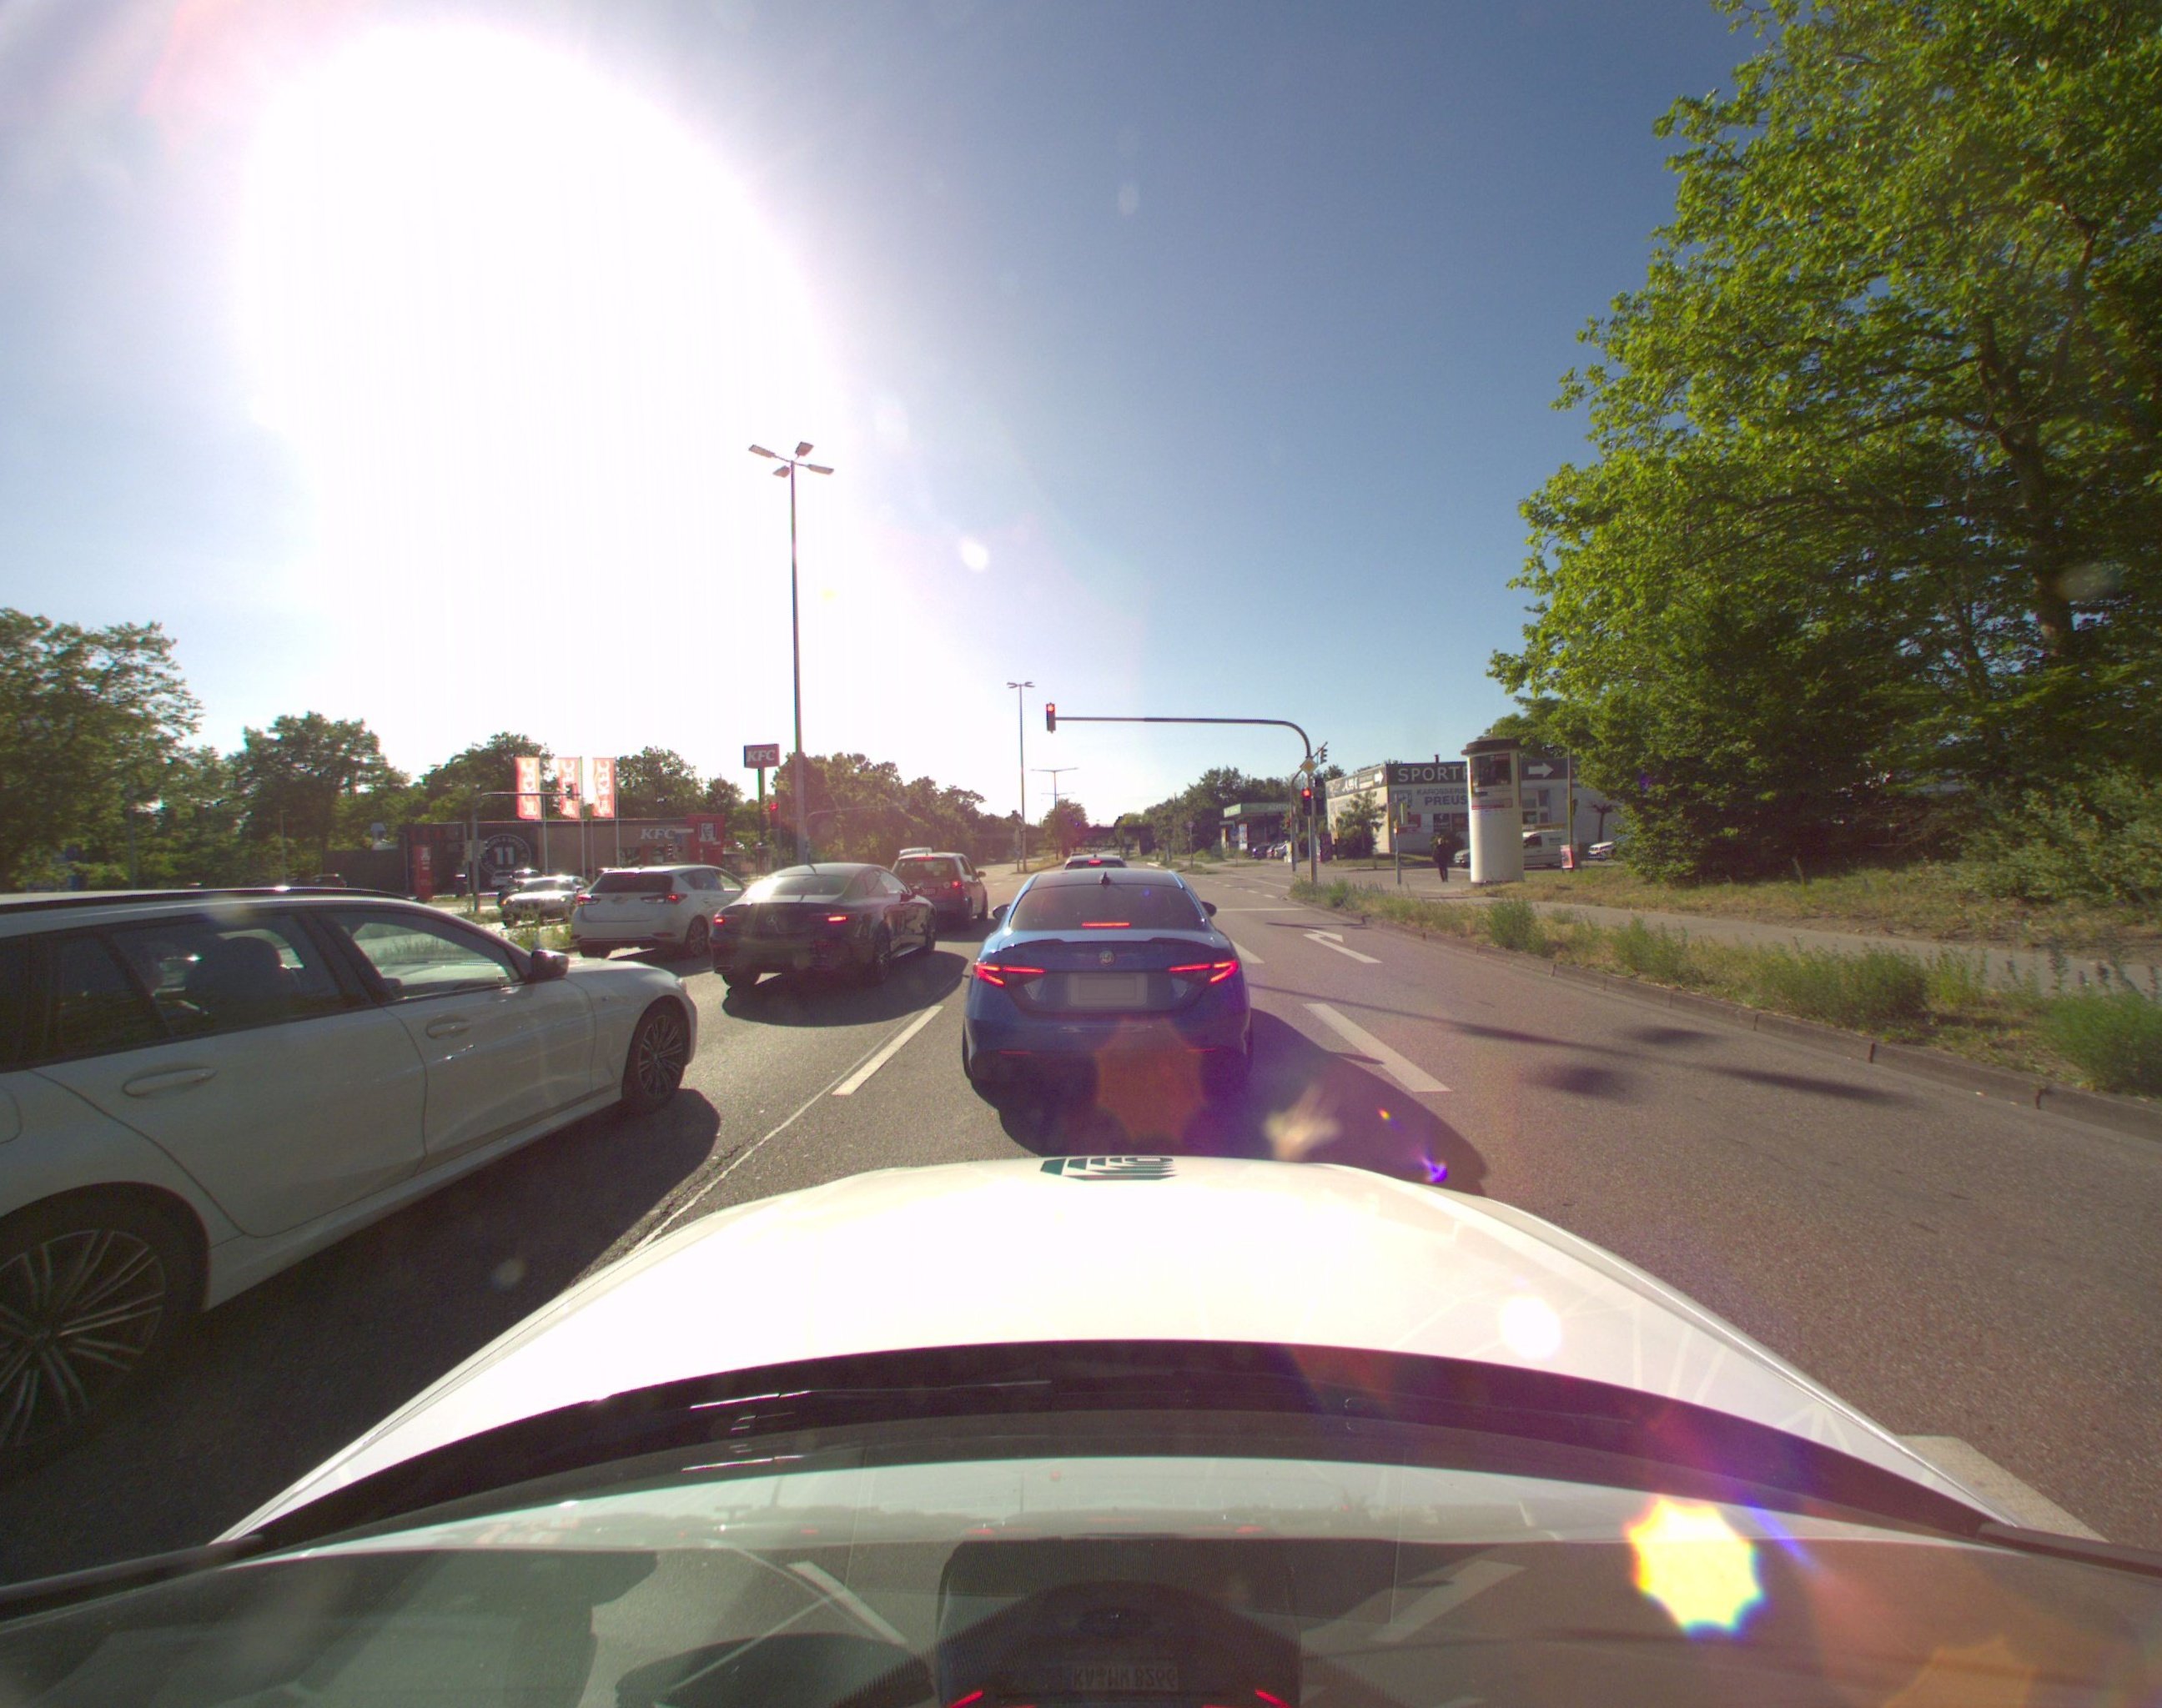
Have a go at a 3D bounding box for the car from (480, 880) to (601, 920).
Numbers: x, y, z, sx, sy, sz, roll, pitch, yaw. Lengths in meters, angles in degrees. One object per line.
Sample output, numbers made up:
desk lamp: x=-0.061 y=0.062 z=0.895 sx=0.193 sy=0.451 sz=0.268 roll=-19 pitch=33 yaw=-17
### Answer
car: x=-24.975 y=2.119 z=37.727 sx=4.392 sy=1.490 sz=1.766 roll=-4 pitch=0 yaw=3

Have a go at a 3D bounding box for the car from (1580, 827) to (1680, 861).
car: x=28.720 y=-0.516 z=42.696 sx=4.028 sy=1.490 sz=1.782 roll=-3 pitch=0 yaw=-1

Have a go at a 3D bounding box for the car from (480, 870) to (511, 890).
car: x=-45.636 y=2.031 z=63.422 sx=1.670 sy=1.471 sz=3.872 roll=0 pitch=-1 yaw=-40

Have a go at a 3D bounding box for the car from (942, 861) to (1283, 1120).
car: x=0.207 y=0.775 z=6.728 sx=1.889 sy=1.418 sz=4.403 roll=0 pitch=0 yaw=1

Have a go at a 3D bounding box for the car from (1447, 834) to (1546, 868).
car: x=21.768 y=-0.192 z=42.726 sx=4.273 sy=1.549 sz=1.765 roll=-3 pitch=1 yaw=0

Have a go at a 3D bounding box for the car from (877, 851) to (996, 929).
car: x=-3.025 y=0.717 z=17.926 sx=1.753 sy=1.490 sz=4.403 roll=0 pitch=-1 yaw=1

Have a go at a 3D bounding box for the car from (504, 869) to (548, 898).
car: x=-37.334 y=1.944 z=54.876 sx=2.005 sy=1.765 sz=4.315 roll=0 pitch=-1 yaw=-29

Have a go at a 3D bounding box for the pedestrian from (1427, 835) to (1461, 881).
pedestrian: x=14.160 y=0.156 z=31.781 sx=0.922 sy=1.735 sz=0.939 roll=0 pitch=-1 yaw=1

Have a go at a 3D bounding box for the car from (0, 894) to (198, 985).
car: x=-19.284 y=1.592 z=14.922 sx=1.753 sy=1.409 sz=3.979 roll=-4 pitch=0 yaw=1

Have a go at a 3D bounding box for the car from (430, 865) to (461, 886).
car: x=-47.636 y=1.570 z=61.005 sx=1.670 sy=1.471 sz=3.872 roll=0 pitch=-1 yaw=-40

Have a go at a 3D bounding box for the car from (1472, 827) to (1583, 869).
car: x=21.556 y=-0.314 z=39.392 sx=4.367 sy=1.801 sz=1.765 roll=-3 pitch=1 yaw=0

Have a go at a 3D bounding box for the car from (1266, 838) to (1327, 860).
car: x=17.711 y=-0.403 z=67.116 sx=4.470 sy=1.454 sz=1.860 roll=-4 pitch=0 yaw=3

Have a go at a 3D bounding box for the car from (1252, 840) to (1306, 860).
car: x=17.947 y=-0.346 z=73.919 sx=4.470 sy=1.454 sz=1.860 roll=-4 pitch=0 yaw=3

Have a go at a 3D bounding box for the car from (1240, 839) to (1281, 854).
car: x=21.391 y=-0.870 z=97.028 sx=4.532 sy=1.490 sz=1.766 roll=-4 pitch=0 yaw=3

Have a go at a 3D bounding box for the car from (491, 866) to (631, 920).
car: x=-16.203 y=1.156 z=25.677 sx=1.725 sy=1.409 sz=4.300 roll=-4 pitch=0 yaw=-3

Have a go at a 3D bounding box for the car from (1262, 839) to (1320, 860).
car: x=17.988 y=-0.374 z=69.865 sx=4.470 sy=1.454 sz=1.860 roll=-4 pitch=0 yaw=3

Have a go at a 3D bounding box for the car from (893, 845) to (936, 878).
car: x=-13.659 y=0.606 z=67.109 sx=2.015 sy=2.447 sz=5.823 roll=-5 pitch=0 yaw=1

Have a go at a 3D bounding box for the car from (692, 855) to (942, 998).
car: x=-3.170 y=0.782 z=10.824 sx=1.790 sy=1.490 sz=4.476 roll=0 pitch=-1 yaw=1

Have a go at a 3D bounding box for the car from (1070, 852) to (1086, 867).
car: x=-0.353 y=0.708 z=106.625 sx=1.884 sy=1.816 sz=4.001 roll=0 pitch=-1 yaw=2

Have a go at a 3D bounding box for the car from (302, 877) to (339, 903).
car: x=-52.370 y=2.470 z=56.111 sx=1.670 sy=1.673 sz=3.897 roll=0 pitch=-1 yaw=-40

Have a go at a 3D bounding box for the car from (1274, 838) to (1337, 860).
car: x=17.705 y=-0.417 z=64.335 sx=4.470 sy=1.454 sz=1.860 roll=-4 pitch=0 yaw=3

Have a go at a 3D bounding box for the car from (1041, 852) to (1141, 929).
car: x=0.218 y=0.697 z=17.371 sx=1.844 sy=1.418 sz=4.403 roll=0 pitch=0 yaw=1

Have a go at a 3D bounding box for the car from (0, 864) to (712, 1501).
car: x=-3.427 y=0.801 z=3.319 sx=1.779 sy=1.490 sz=4.403 roll=0 pitch=-1 yaw=1

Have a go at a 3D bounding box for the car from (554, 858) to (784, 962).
car: x=-6.754 y=0.832 z=13.945 sx=1.753 sy=1.490 sz=4.197 roll=0 pitch=-1 yaw=1

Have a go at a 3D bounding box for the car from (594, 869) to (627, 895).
car: x=-33.665 y=1.939 z=58.355 sx=1.920 sy=1.752 sz=4.315 roll=0 pitch=-1 yaw=-29
